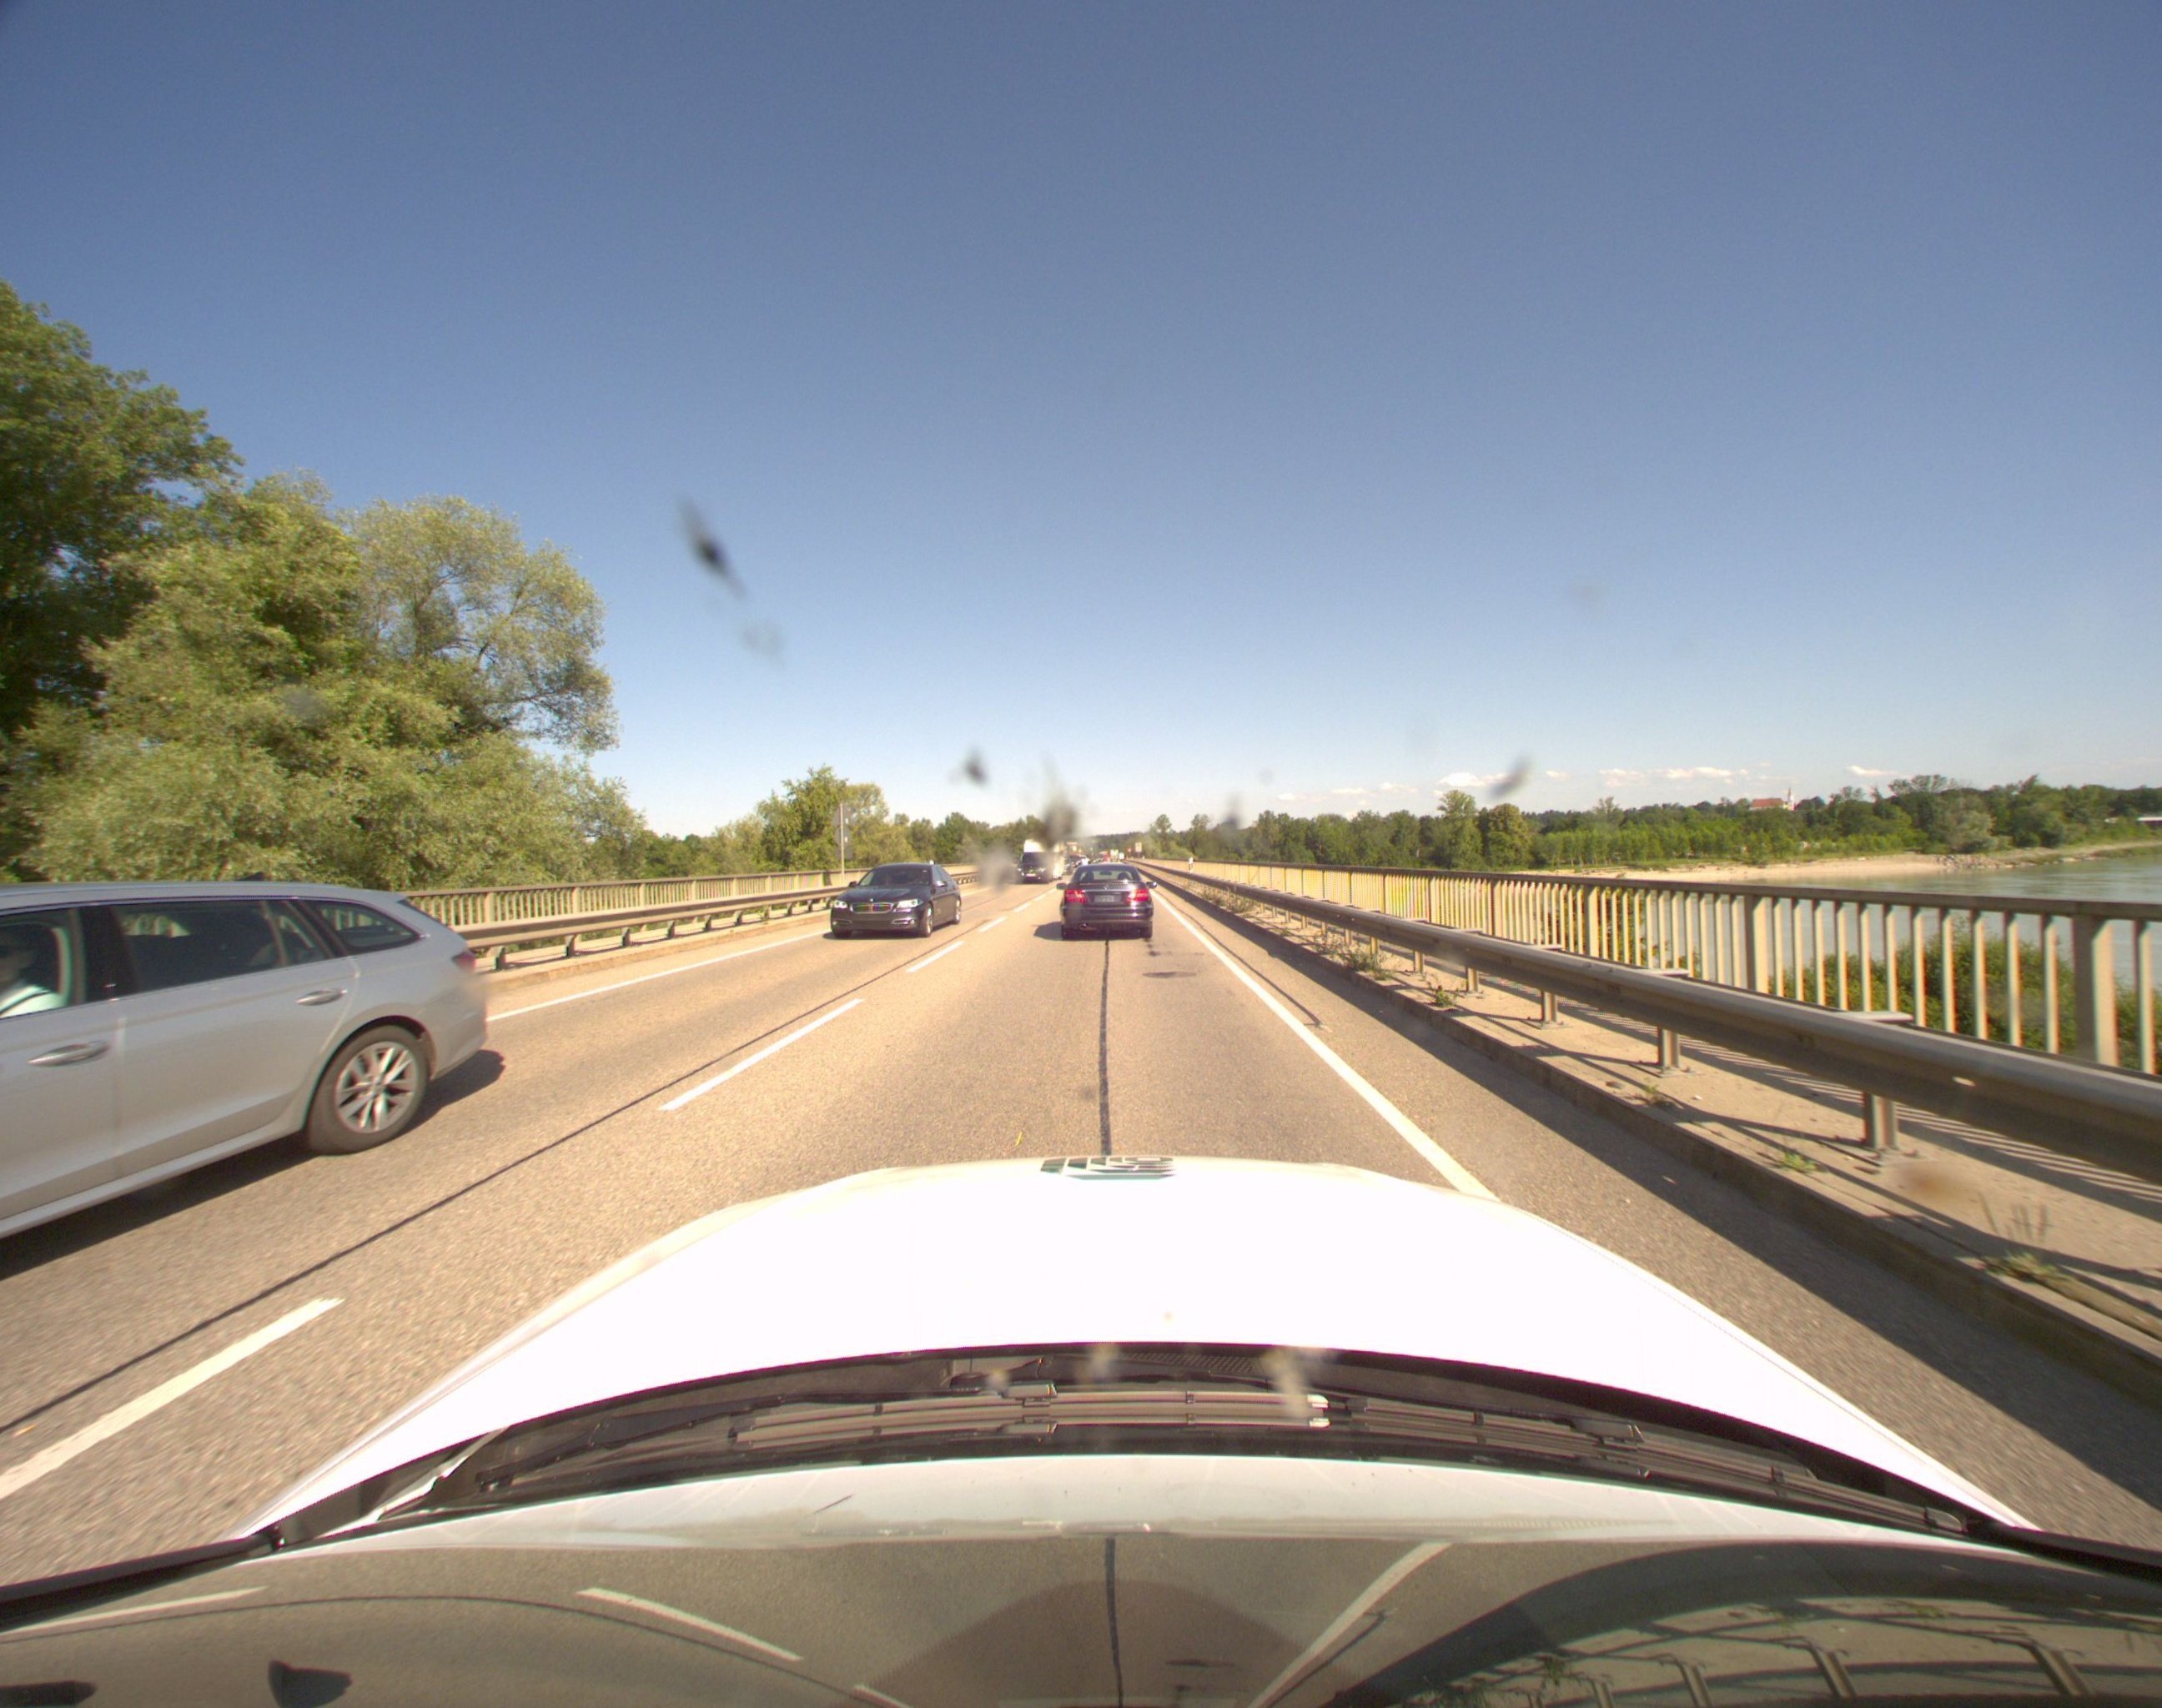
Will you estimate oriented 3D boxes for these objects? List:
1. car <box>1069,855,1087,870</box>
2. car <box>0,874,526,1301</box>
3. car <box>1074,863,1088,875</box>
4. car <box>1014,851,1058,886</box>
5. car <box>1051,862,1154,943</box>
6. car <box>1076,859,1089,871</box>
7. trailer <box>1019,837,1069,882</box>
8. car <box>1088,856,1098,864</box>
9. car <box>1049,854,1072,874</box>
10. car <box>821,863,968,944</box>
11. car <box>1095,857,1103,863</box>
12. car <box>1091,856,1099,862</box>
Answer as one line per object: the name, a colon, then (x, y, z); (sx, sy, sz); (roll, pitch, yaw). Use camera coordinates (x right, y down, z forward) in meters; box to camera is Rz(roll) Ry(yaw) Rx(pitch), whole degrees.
car: (-0.372, 0.978, 93.746); (1.943, 1.694, 4.475); (-1, 0, -1)
car: (-4.628, 0.862, 3.181); (1.725, 1.436, 4.488); (-2, 0, 1)
car: (-0.062, 2.146, 117.021); (1.977, 1.651, 4.596); (1, 0, -1)
car: (-2.532, 0.791, 47.297); (1.975, 1.854, 5.012); (-2, 0, 3)
car: (0.458, 0.863, 16.182); (1.786, 1.376, 4.002); (-1, 0, 2)
car: (0.198, 1.716, 130.586); (2.031, 1.873, 5.068); (1, 0, -1)
trailer: (-2.338, 0.322, 53.795); (2.545, 2.737, 8.067); (0, 0, 3)
car: (2.225, 1.038, 152.268); (1.760, 1.447, 4.454); (-1, 0, -1)
car: (-1.721, 0.811, 69.305); (1.796, 1.661, 4.433); (1, 0, 0)
car: (-3.735, 0.932, 17.226); (1.779, 1.420, 4.655); (-2, 0, 3)
car: (4.933, 1.659, 223.126); (1.801, 1.577, 4.199); (-1, 0, -1)
car: (3.642, 1.260, 205.554); (1.861, 1.444, 4.454); (-1, 0, -1)
